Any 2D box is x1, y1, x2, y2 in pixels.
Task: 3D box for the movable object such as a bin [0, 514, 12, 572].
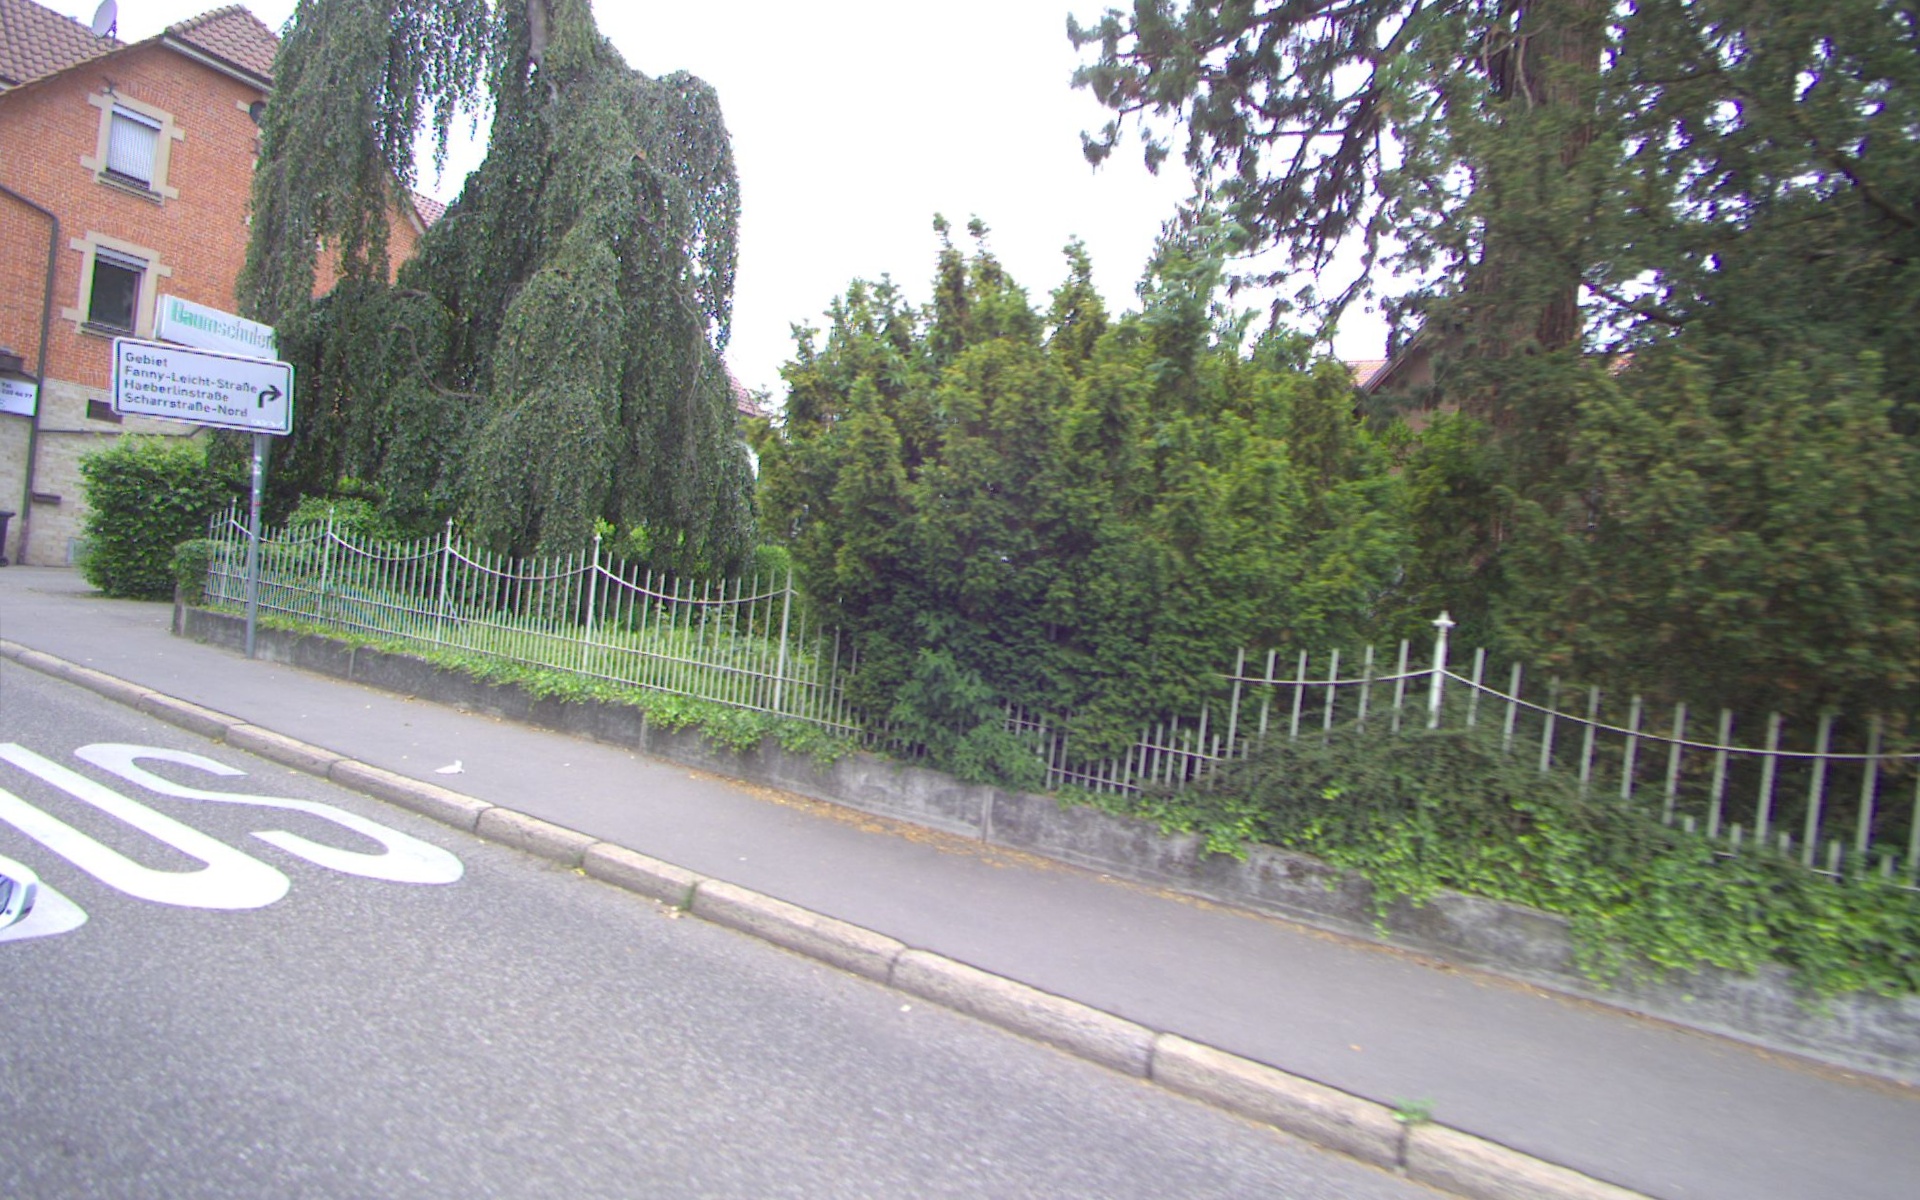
[{"bbox_3d":[-18.411,-1.119,18.867,0.711,1.072,0.699,6,1,31],"label":"movable object such as a bin"}]
